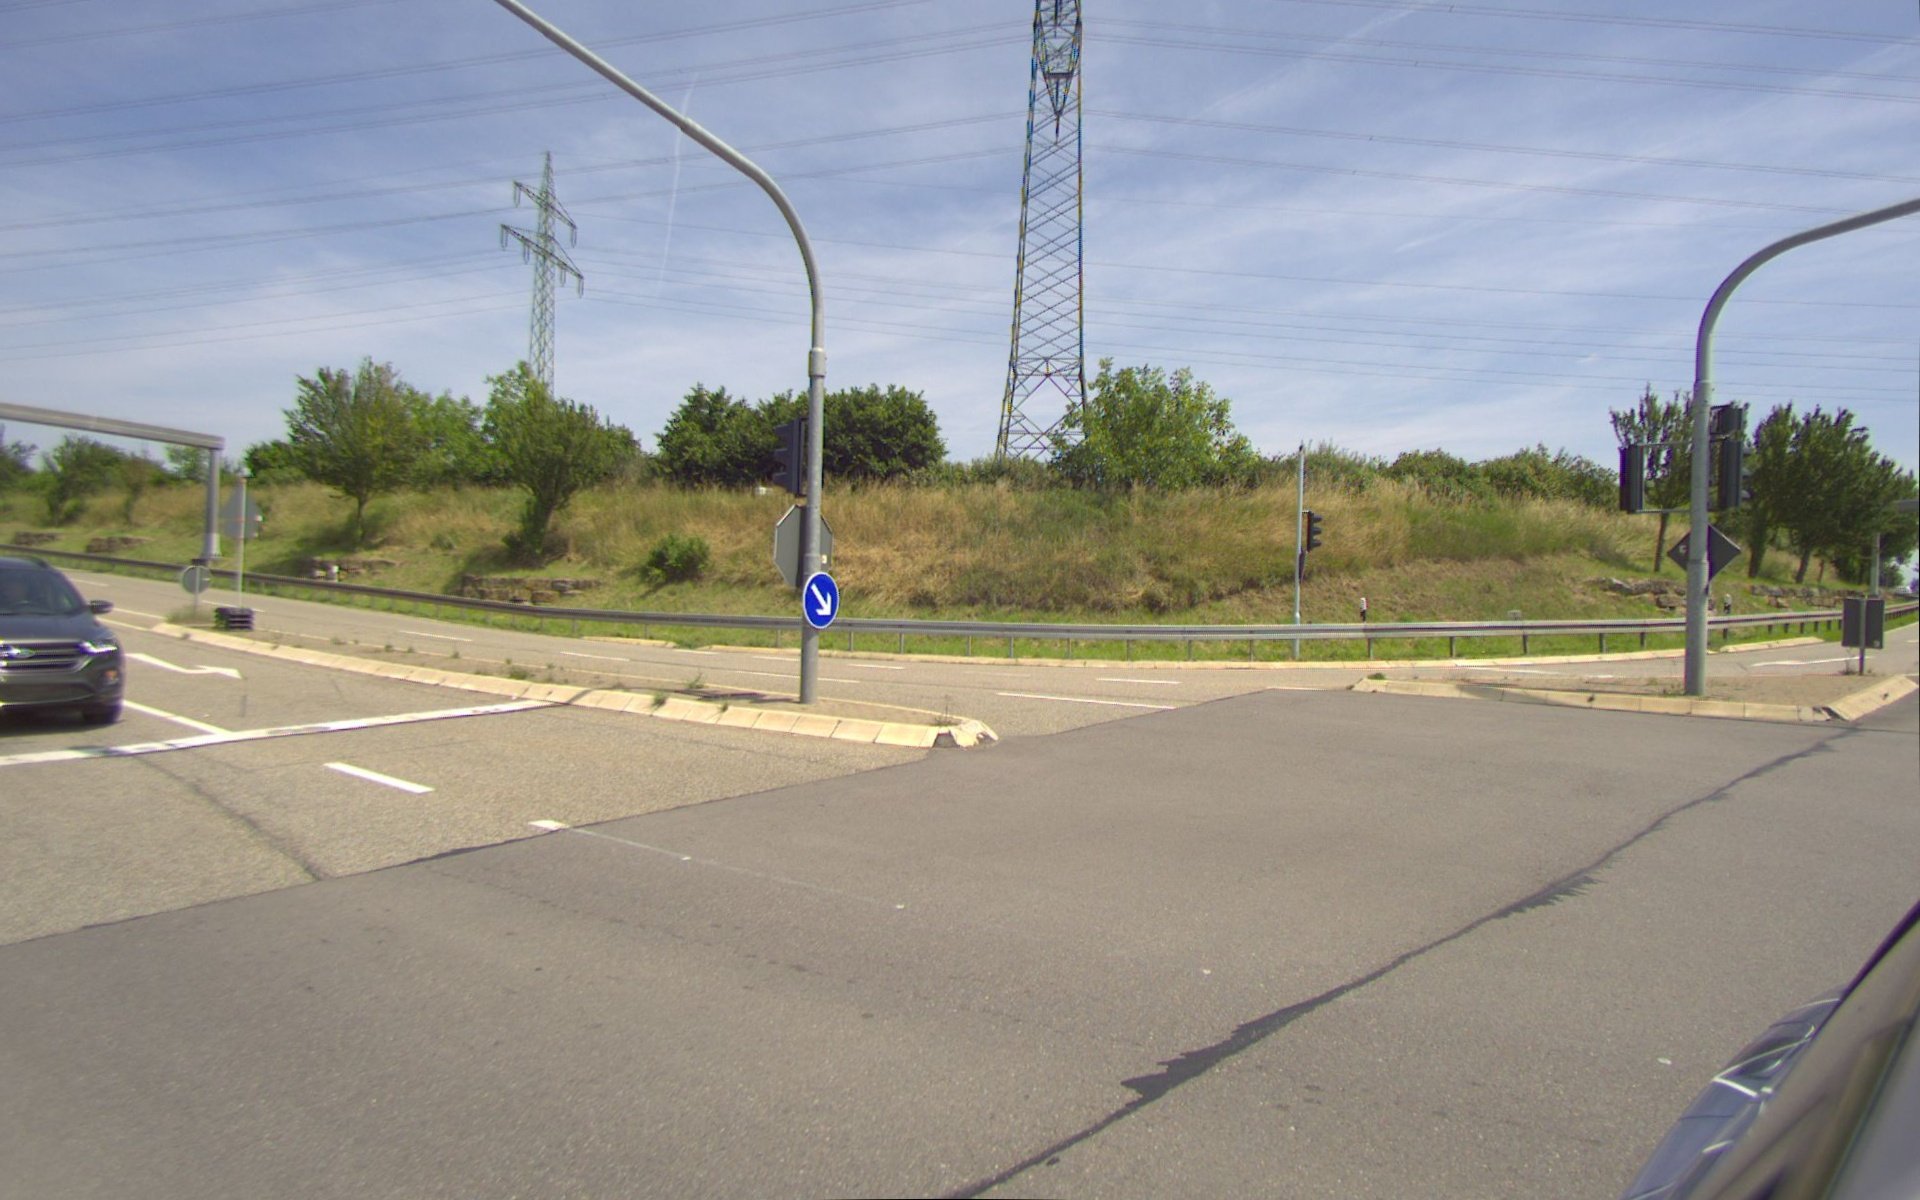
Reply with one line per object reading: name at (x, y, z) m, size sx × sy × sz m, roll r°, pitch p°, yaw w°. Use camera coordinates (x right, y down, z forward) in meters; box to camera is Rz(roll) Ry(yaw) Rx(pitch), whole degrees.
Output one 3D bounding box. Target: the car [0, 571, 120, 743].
car at (-10.386, 0.473, 10.432) m, size 4.347 × 1.529 × 1.694 m, roll 2°, pitch 2°, yaw 37°
